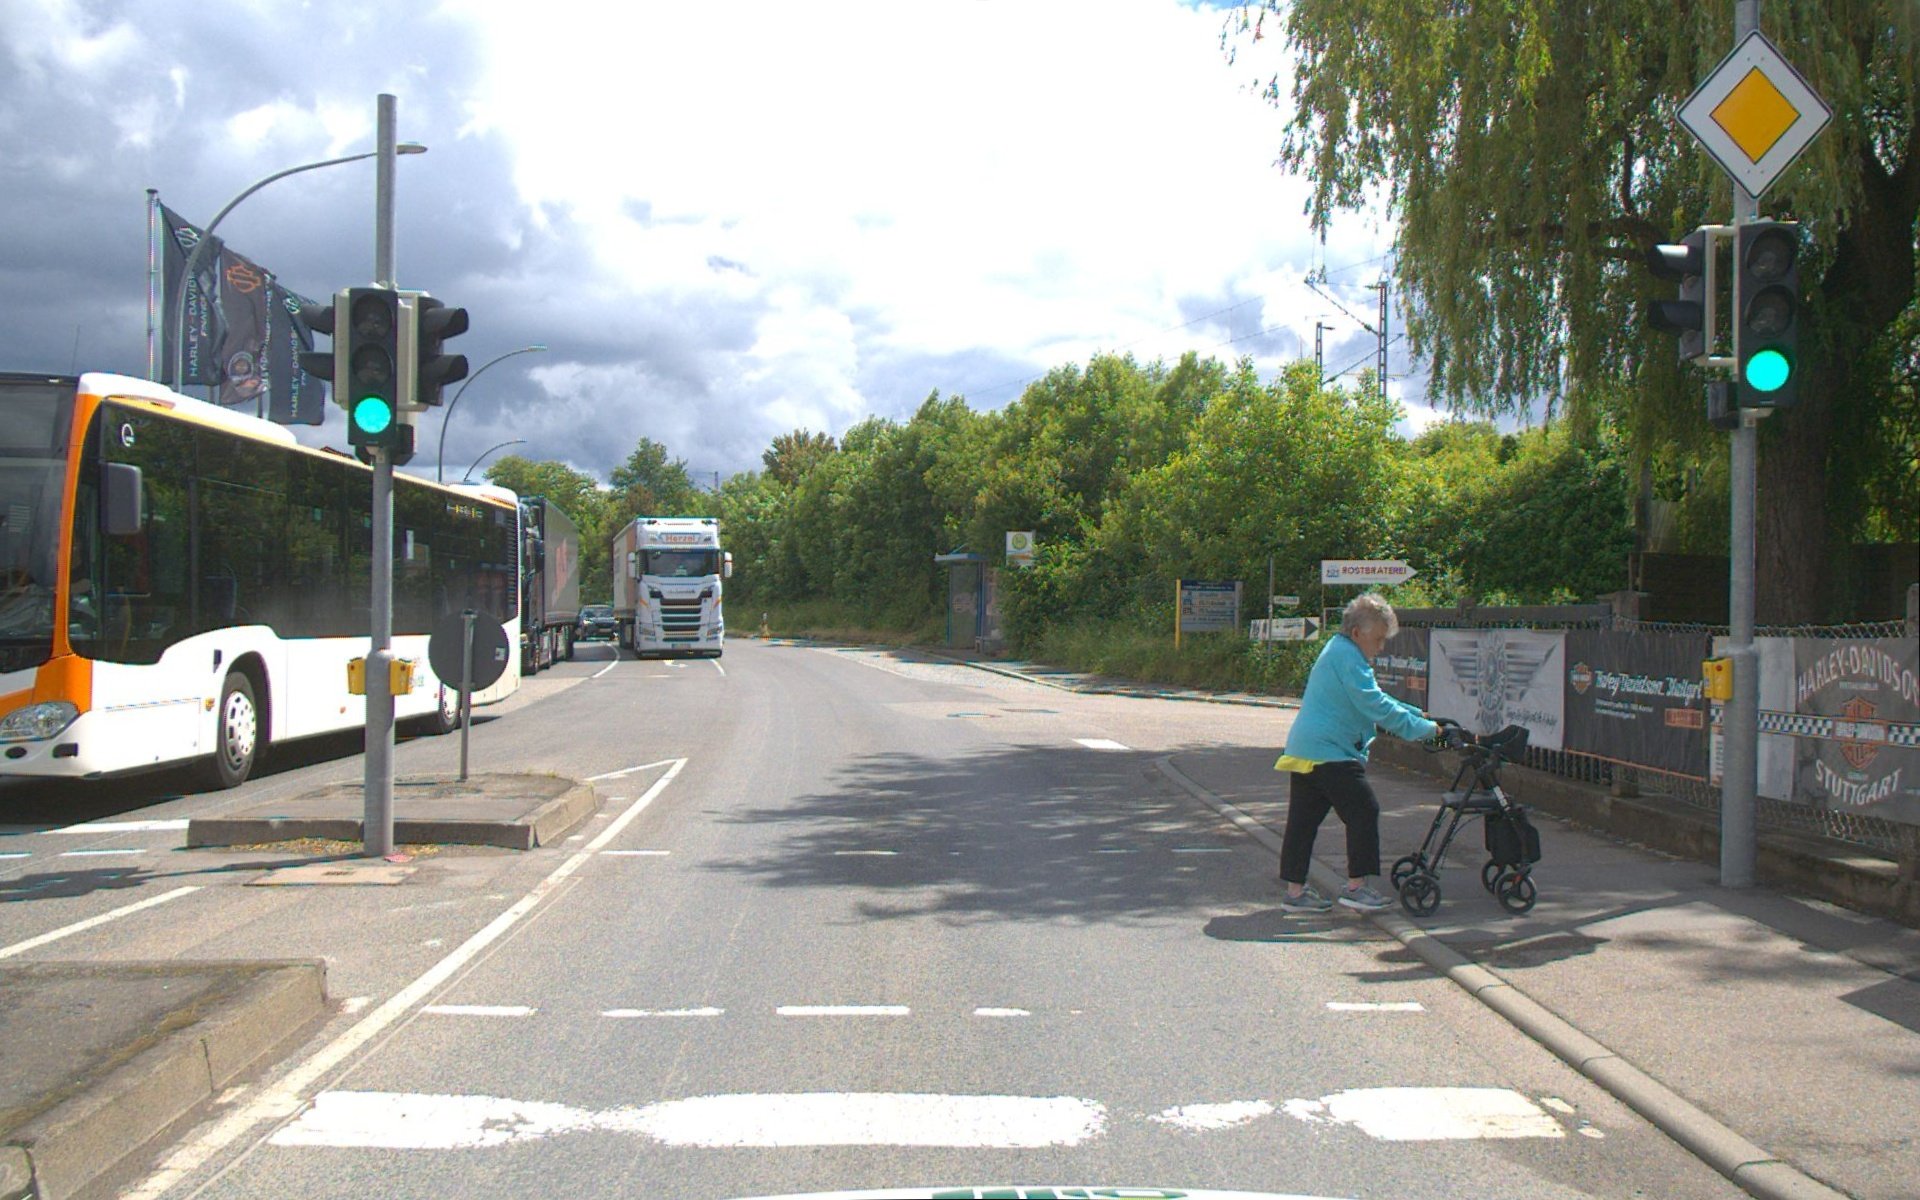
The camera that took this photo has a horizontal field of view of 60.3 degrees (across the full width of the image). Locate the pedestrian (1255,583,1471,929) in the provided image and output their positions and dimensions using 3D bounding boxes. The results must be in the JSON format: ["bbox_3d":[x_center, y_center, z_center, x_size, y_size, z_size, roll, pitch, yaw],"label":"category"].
[{"bbox_3d":[1.903,0.710,7.908,0.822,1.570,0.733,0,-1,-3],"label":"pedestrian"}]

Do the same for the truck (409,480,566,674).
[{"bbox_3d":[-10.905,-0.450,38.782,2.748,4.124,6.486,1,-1,-10],"label":"truck"}]

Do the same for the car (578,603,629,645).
[{"bbox_3d":[-15.318,1.011,70.926,1.960,1.736,3.985,1,-1,-14],"label":"car"}]

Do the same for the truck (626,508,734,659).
[{"bbox_3d":[-8.363,-0.434,49.018,2.725,4.191,4.967,1,-1,-14],"label":"truck"}]

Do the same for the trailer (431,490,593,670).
[{"bbox_3d":[-12.077,-0.388,46.012,2.748,4.124,15.520,1,-1,-9],"label":"trailer"}]

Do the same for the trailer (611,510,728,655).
[{"bbox_3d":[-10.068,-0.446,55.871,2.724,4.217,15.292,1,-1,-14],"label":"trailer"}]

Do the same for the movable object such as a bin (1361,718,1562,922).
[{"bbox_3d":[2.382,1.034,7.913,0.731,0.887,0.670,1,-1,-3],"label":"movable object such as a bin"}]

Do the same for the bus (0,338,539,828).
[{"bbox_3d":[-7.011,-0.039,16.503,2.663,3.084,12.262,0,-1,-1],"label":"bus"}]
